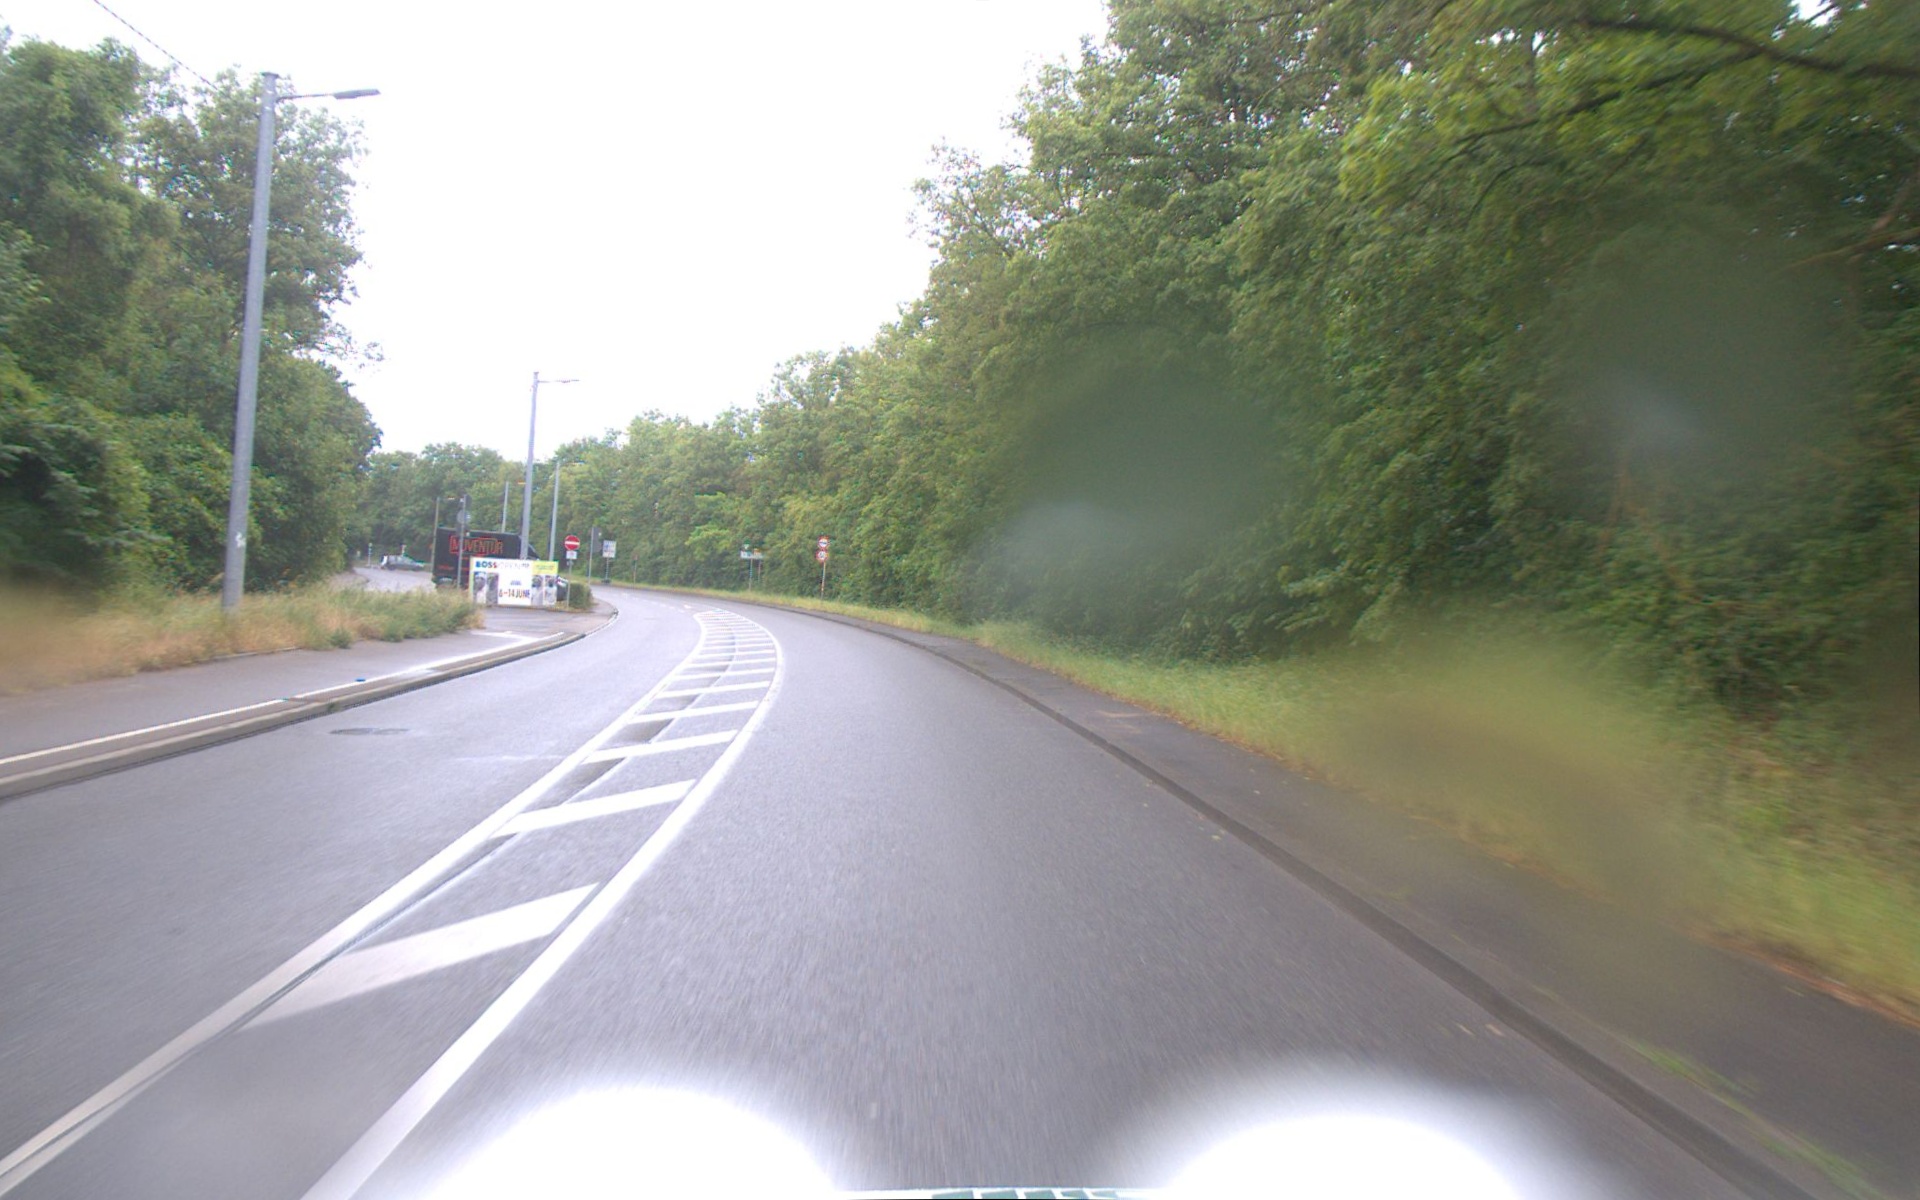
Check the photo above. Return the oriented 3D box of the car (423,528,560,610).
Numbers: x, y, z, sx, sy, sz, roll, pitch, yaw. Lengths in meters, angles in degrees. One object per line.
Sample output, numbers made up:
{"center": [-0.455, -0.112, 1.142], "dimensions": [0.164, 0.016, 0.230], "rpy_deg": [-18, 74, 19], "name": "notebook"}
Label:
{"center": [-21.445, -1.399, 75.764], "dimensions": [5.854, 3.563, 1.990], "rpy_deg": [1, 0, -18], "name": "car"}
